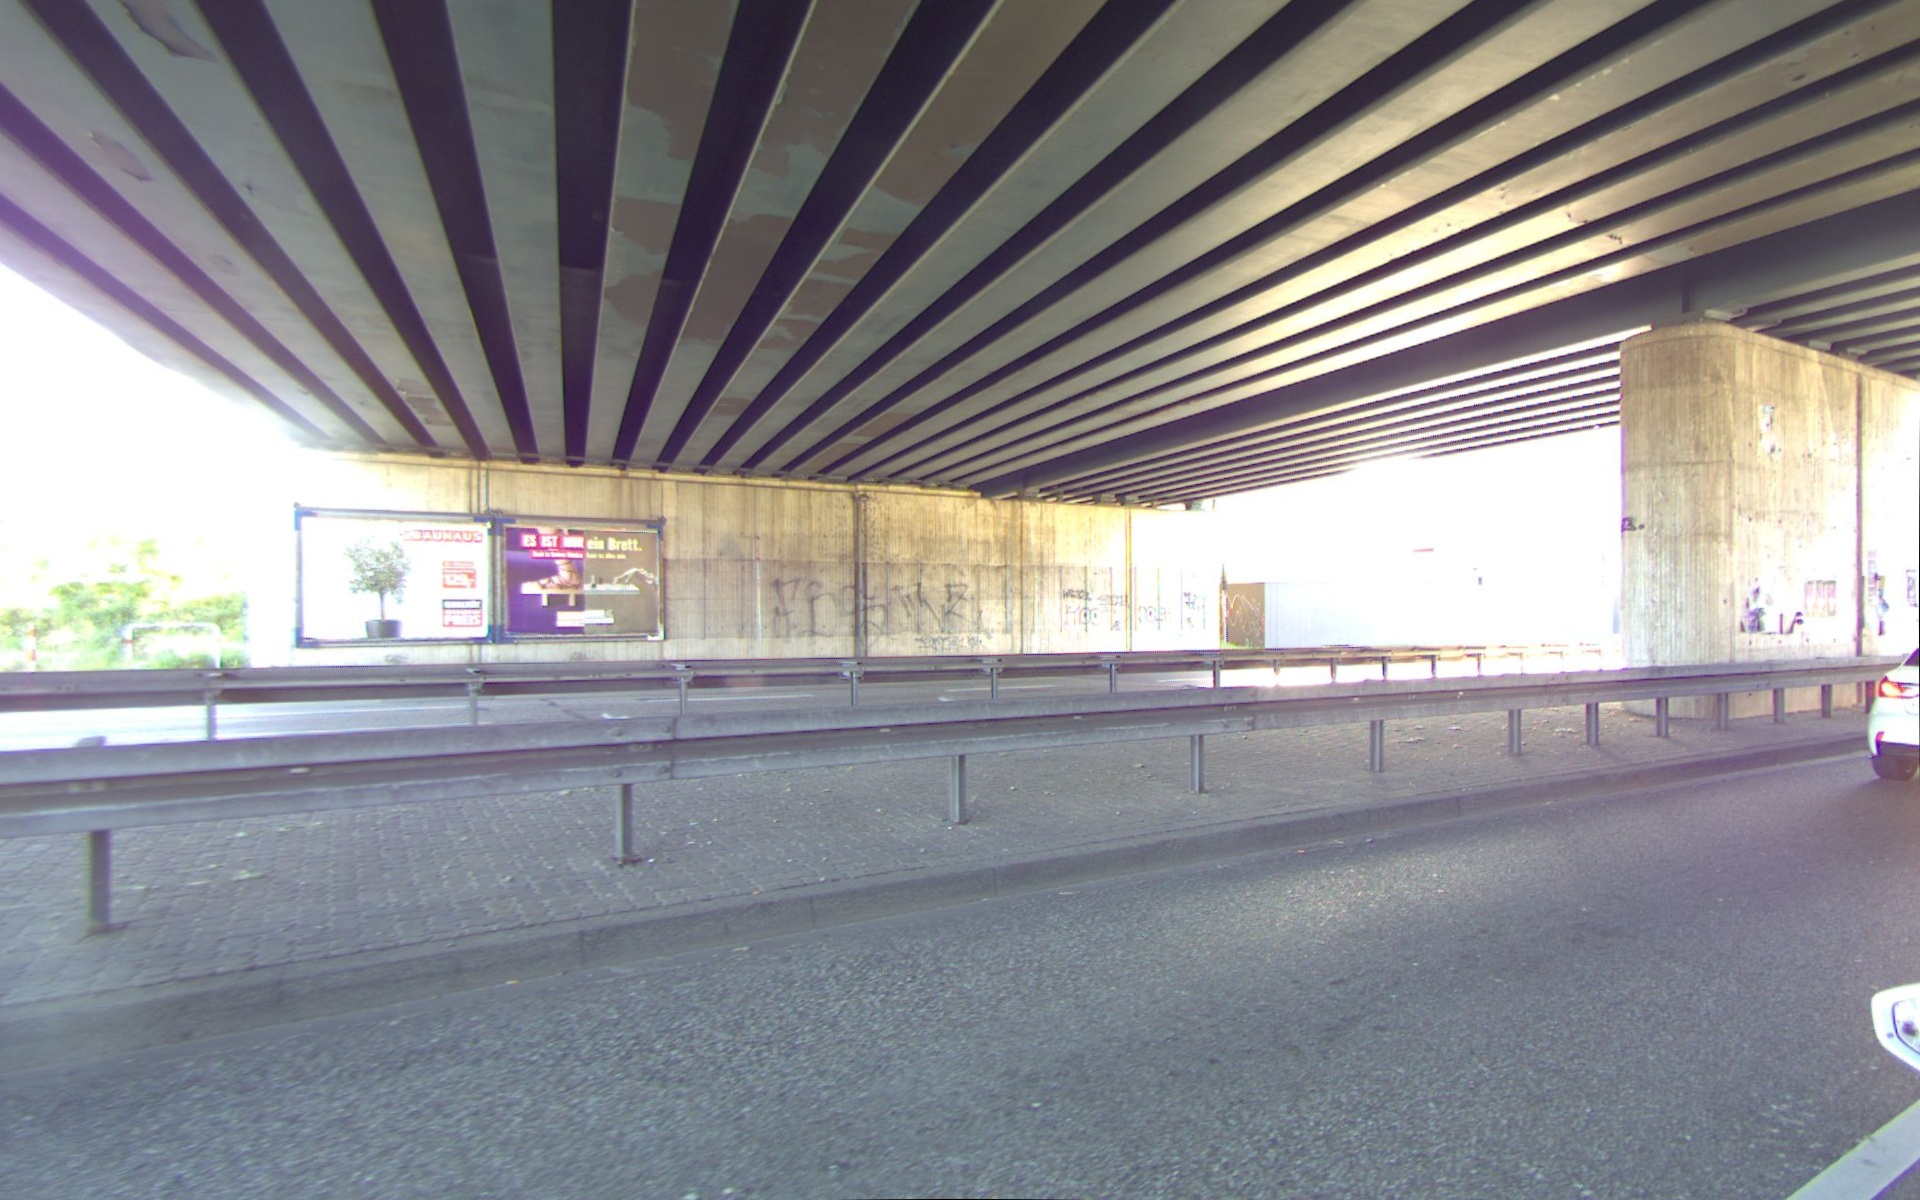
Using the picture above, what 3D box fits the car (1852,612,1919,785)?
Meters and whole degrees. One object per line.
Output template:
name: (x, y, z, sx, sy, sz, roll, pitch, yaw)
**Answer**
car: (9.778, 0.852, 8.957, 3.770, 1.429, 1.684, 1, 0, -31)
